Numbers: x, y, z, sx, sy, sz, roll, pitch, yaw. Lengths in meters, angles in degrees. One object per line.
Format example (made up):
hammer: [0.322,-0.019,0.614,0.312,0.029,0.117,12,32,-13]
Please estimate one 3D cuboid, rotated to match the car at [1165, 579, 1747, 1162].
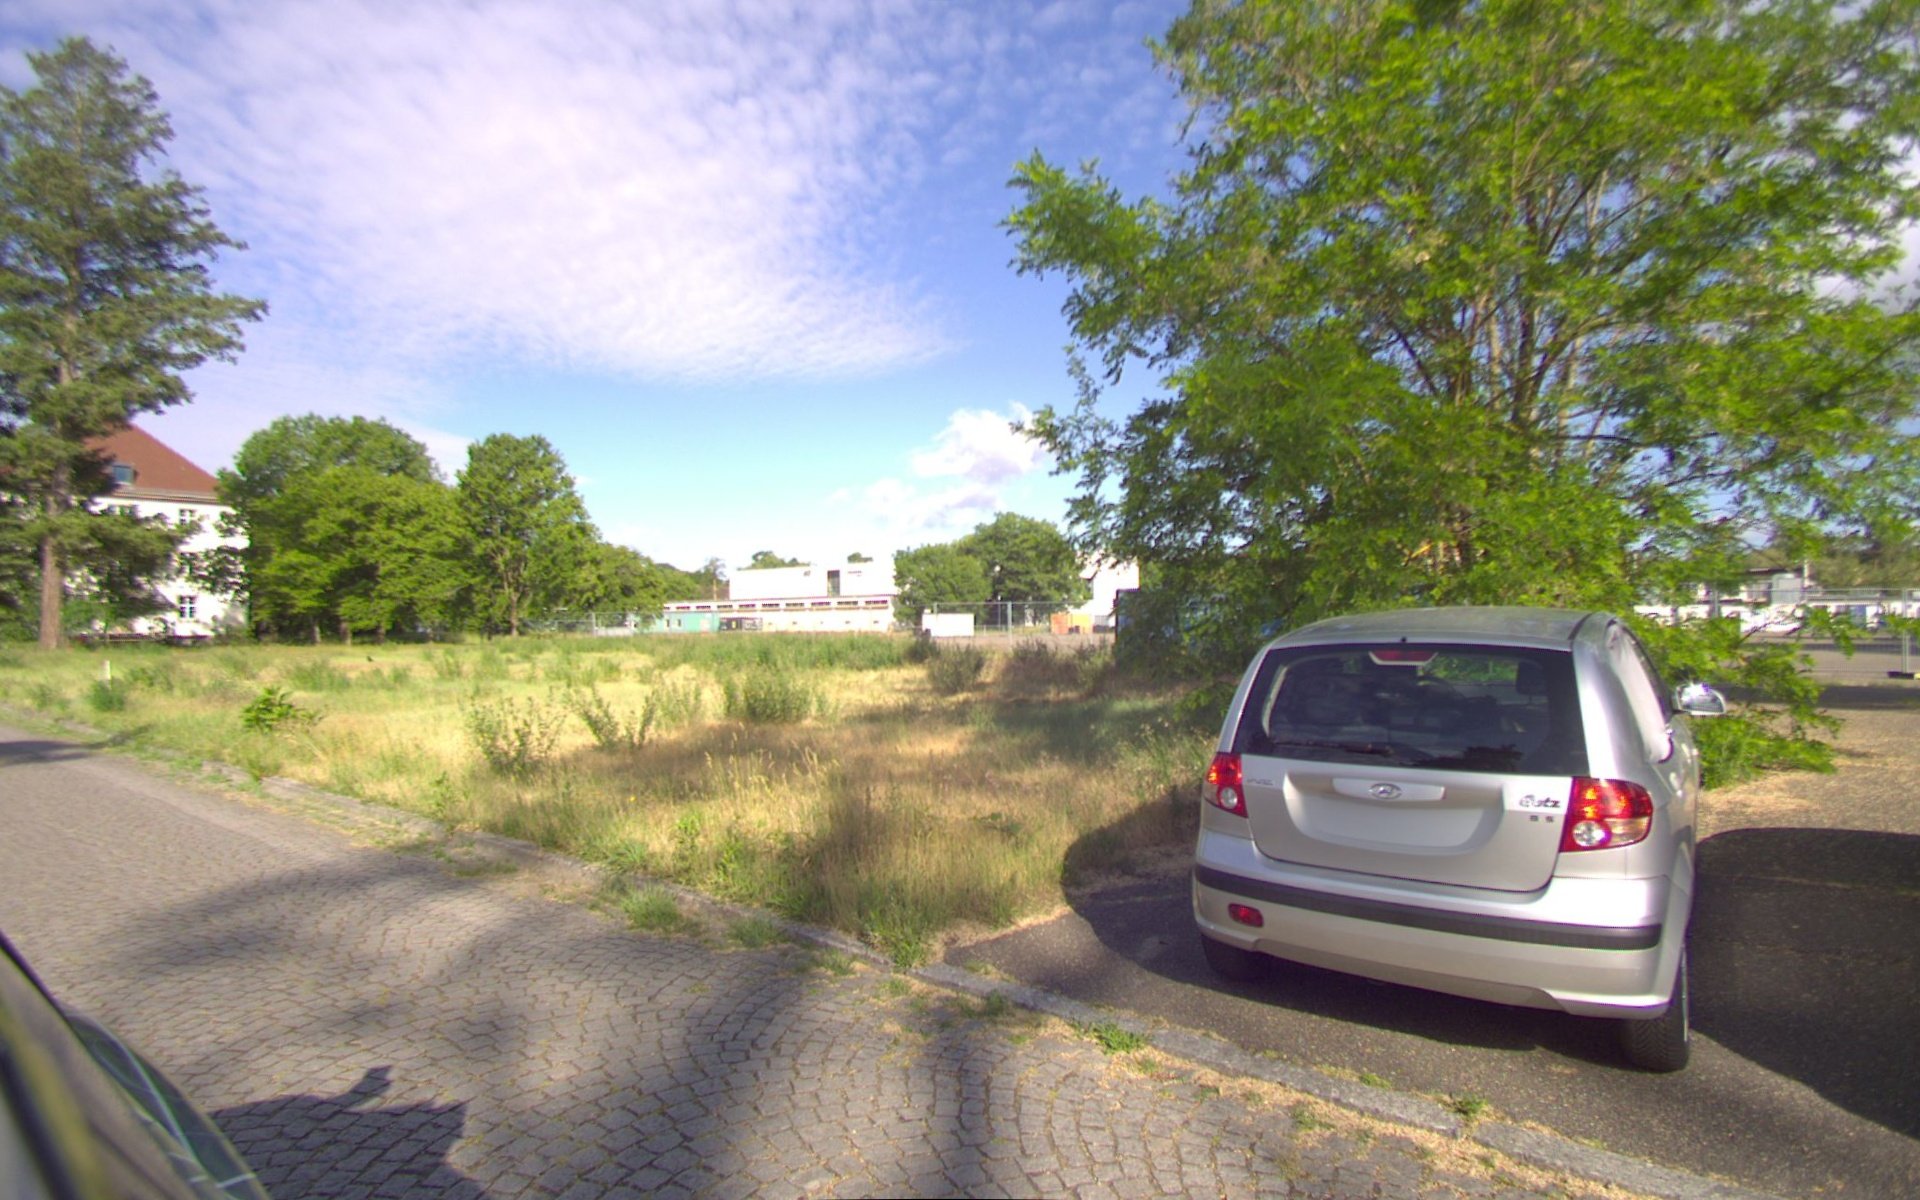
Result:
car: [2.440,0.709,4.559,1.634,1.482,3.433,-2,1,37]
